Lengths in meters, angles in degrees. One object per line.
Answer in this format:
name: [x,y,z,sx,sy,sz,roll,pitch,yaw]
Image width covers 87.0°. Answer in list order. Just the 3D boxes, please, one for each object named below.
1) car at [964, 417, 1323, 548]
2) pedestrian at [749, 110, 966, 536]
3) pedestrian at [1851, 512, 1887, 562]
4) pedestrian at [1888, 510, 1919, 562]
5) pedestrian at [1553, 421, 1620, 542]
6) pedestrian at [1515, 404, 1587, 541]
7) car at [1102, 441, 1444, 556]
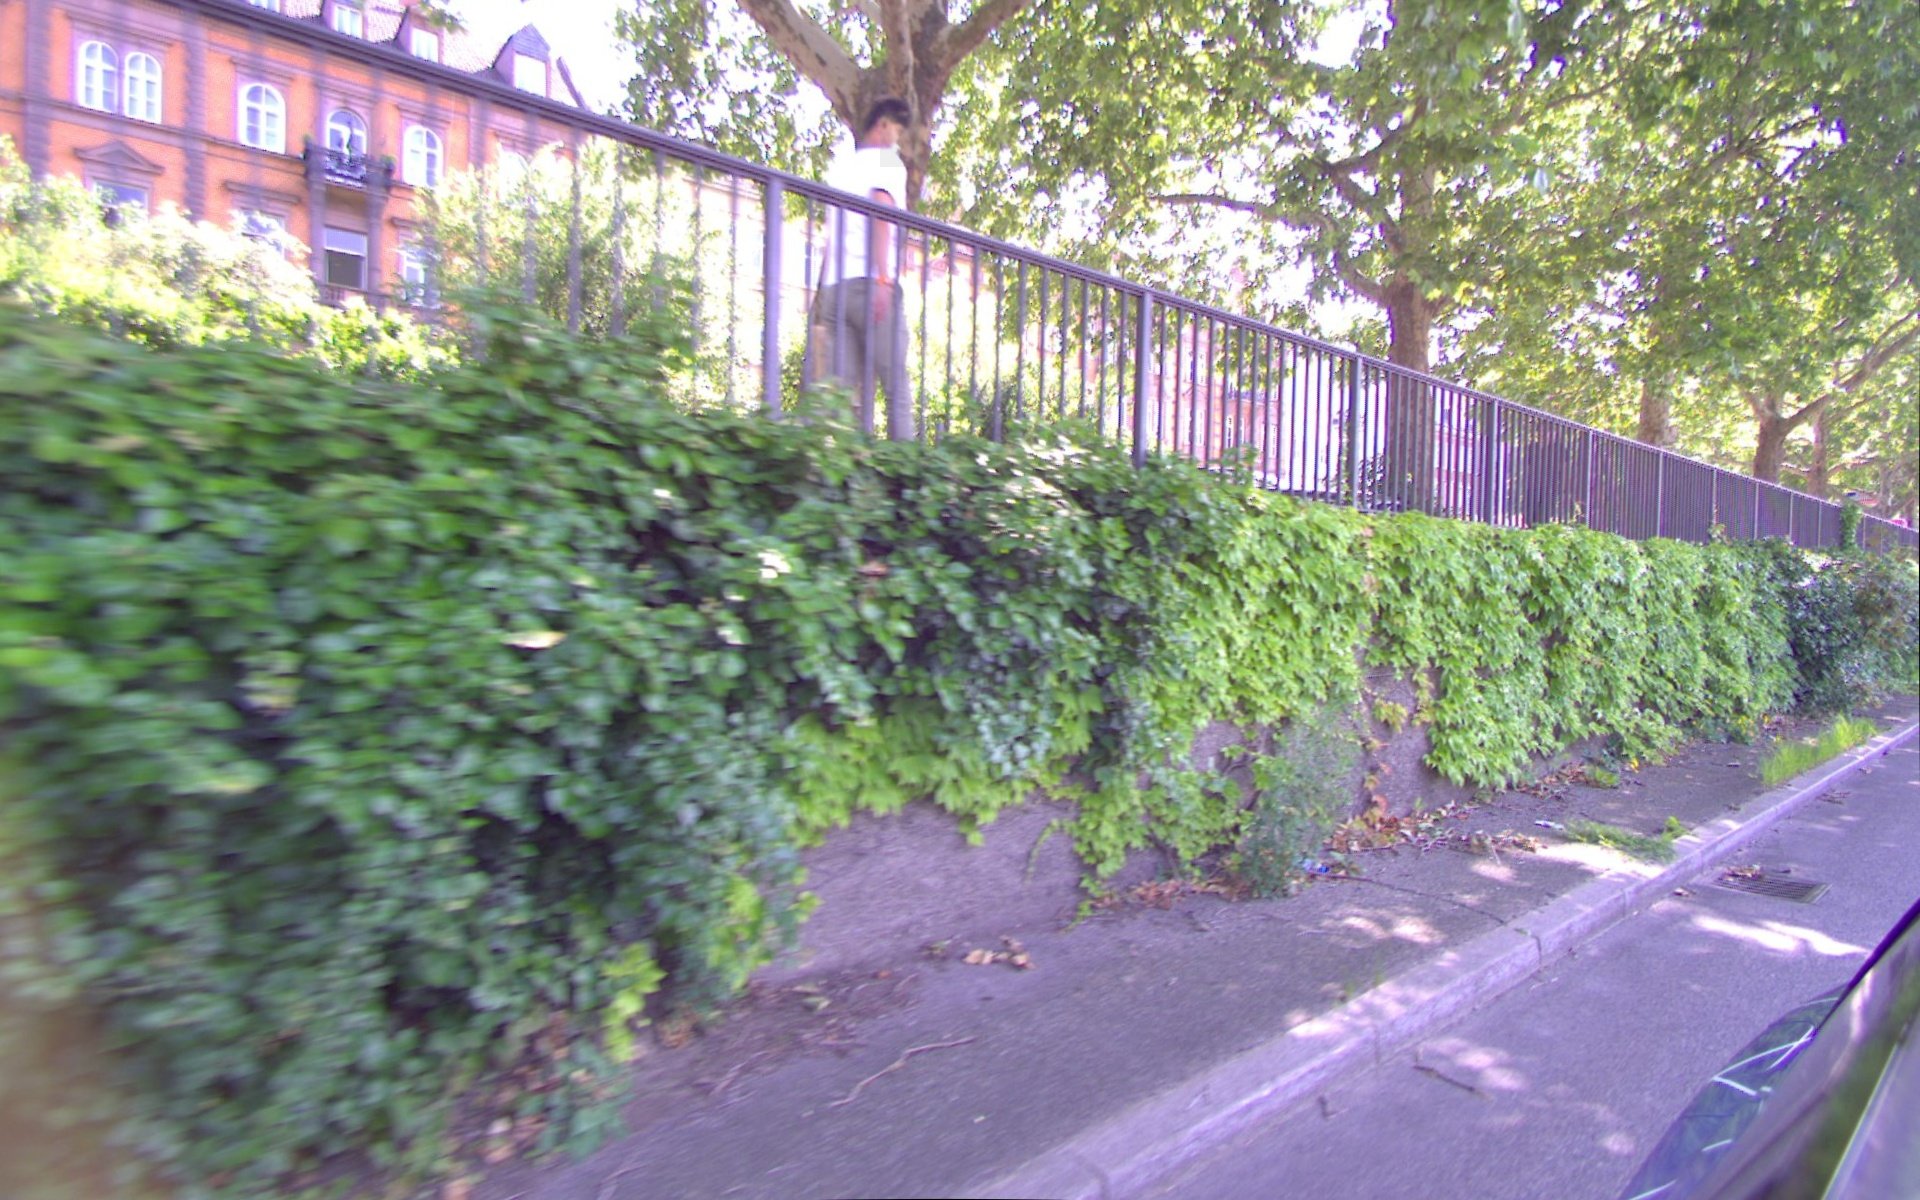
car: [1.905,-1.190,11.318,1.623,1.128,3.736,0,2,-42]
pedestrian: [-0.451,-1.101,4.385,0.639,1.611,0.666,1,1,-41]
pedestrian: [23.527,-1.619,26.190,0.679,1.259,0.577,0,1,-41]
pedestrian: [23.850,-1.591,25.405,0.729,1.259,0.712,0,1,-41]
pedestrian: [7.823,-1.459,12.635,0.584,1.437,0.580,2,1,42]
pedestrian: [7.539,-1.592,12.919,0.646,1.660,0.617,2,1,42]
car: [3.704,-1.143,12.471,1.622,1.128,3.738,0,2,-41]
